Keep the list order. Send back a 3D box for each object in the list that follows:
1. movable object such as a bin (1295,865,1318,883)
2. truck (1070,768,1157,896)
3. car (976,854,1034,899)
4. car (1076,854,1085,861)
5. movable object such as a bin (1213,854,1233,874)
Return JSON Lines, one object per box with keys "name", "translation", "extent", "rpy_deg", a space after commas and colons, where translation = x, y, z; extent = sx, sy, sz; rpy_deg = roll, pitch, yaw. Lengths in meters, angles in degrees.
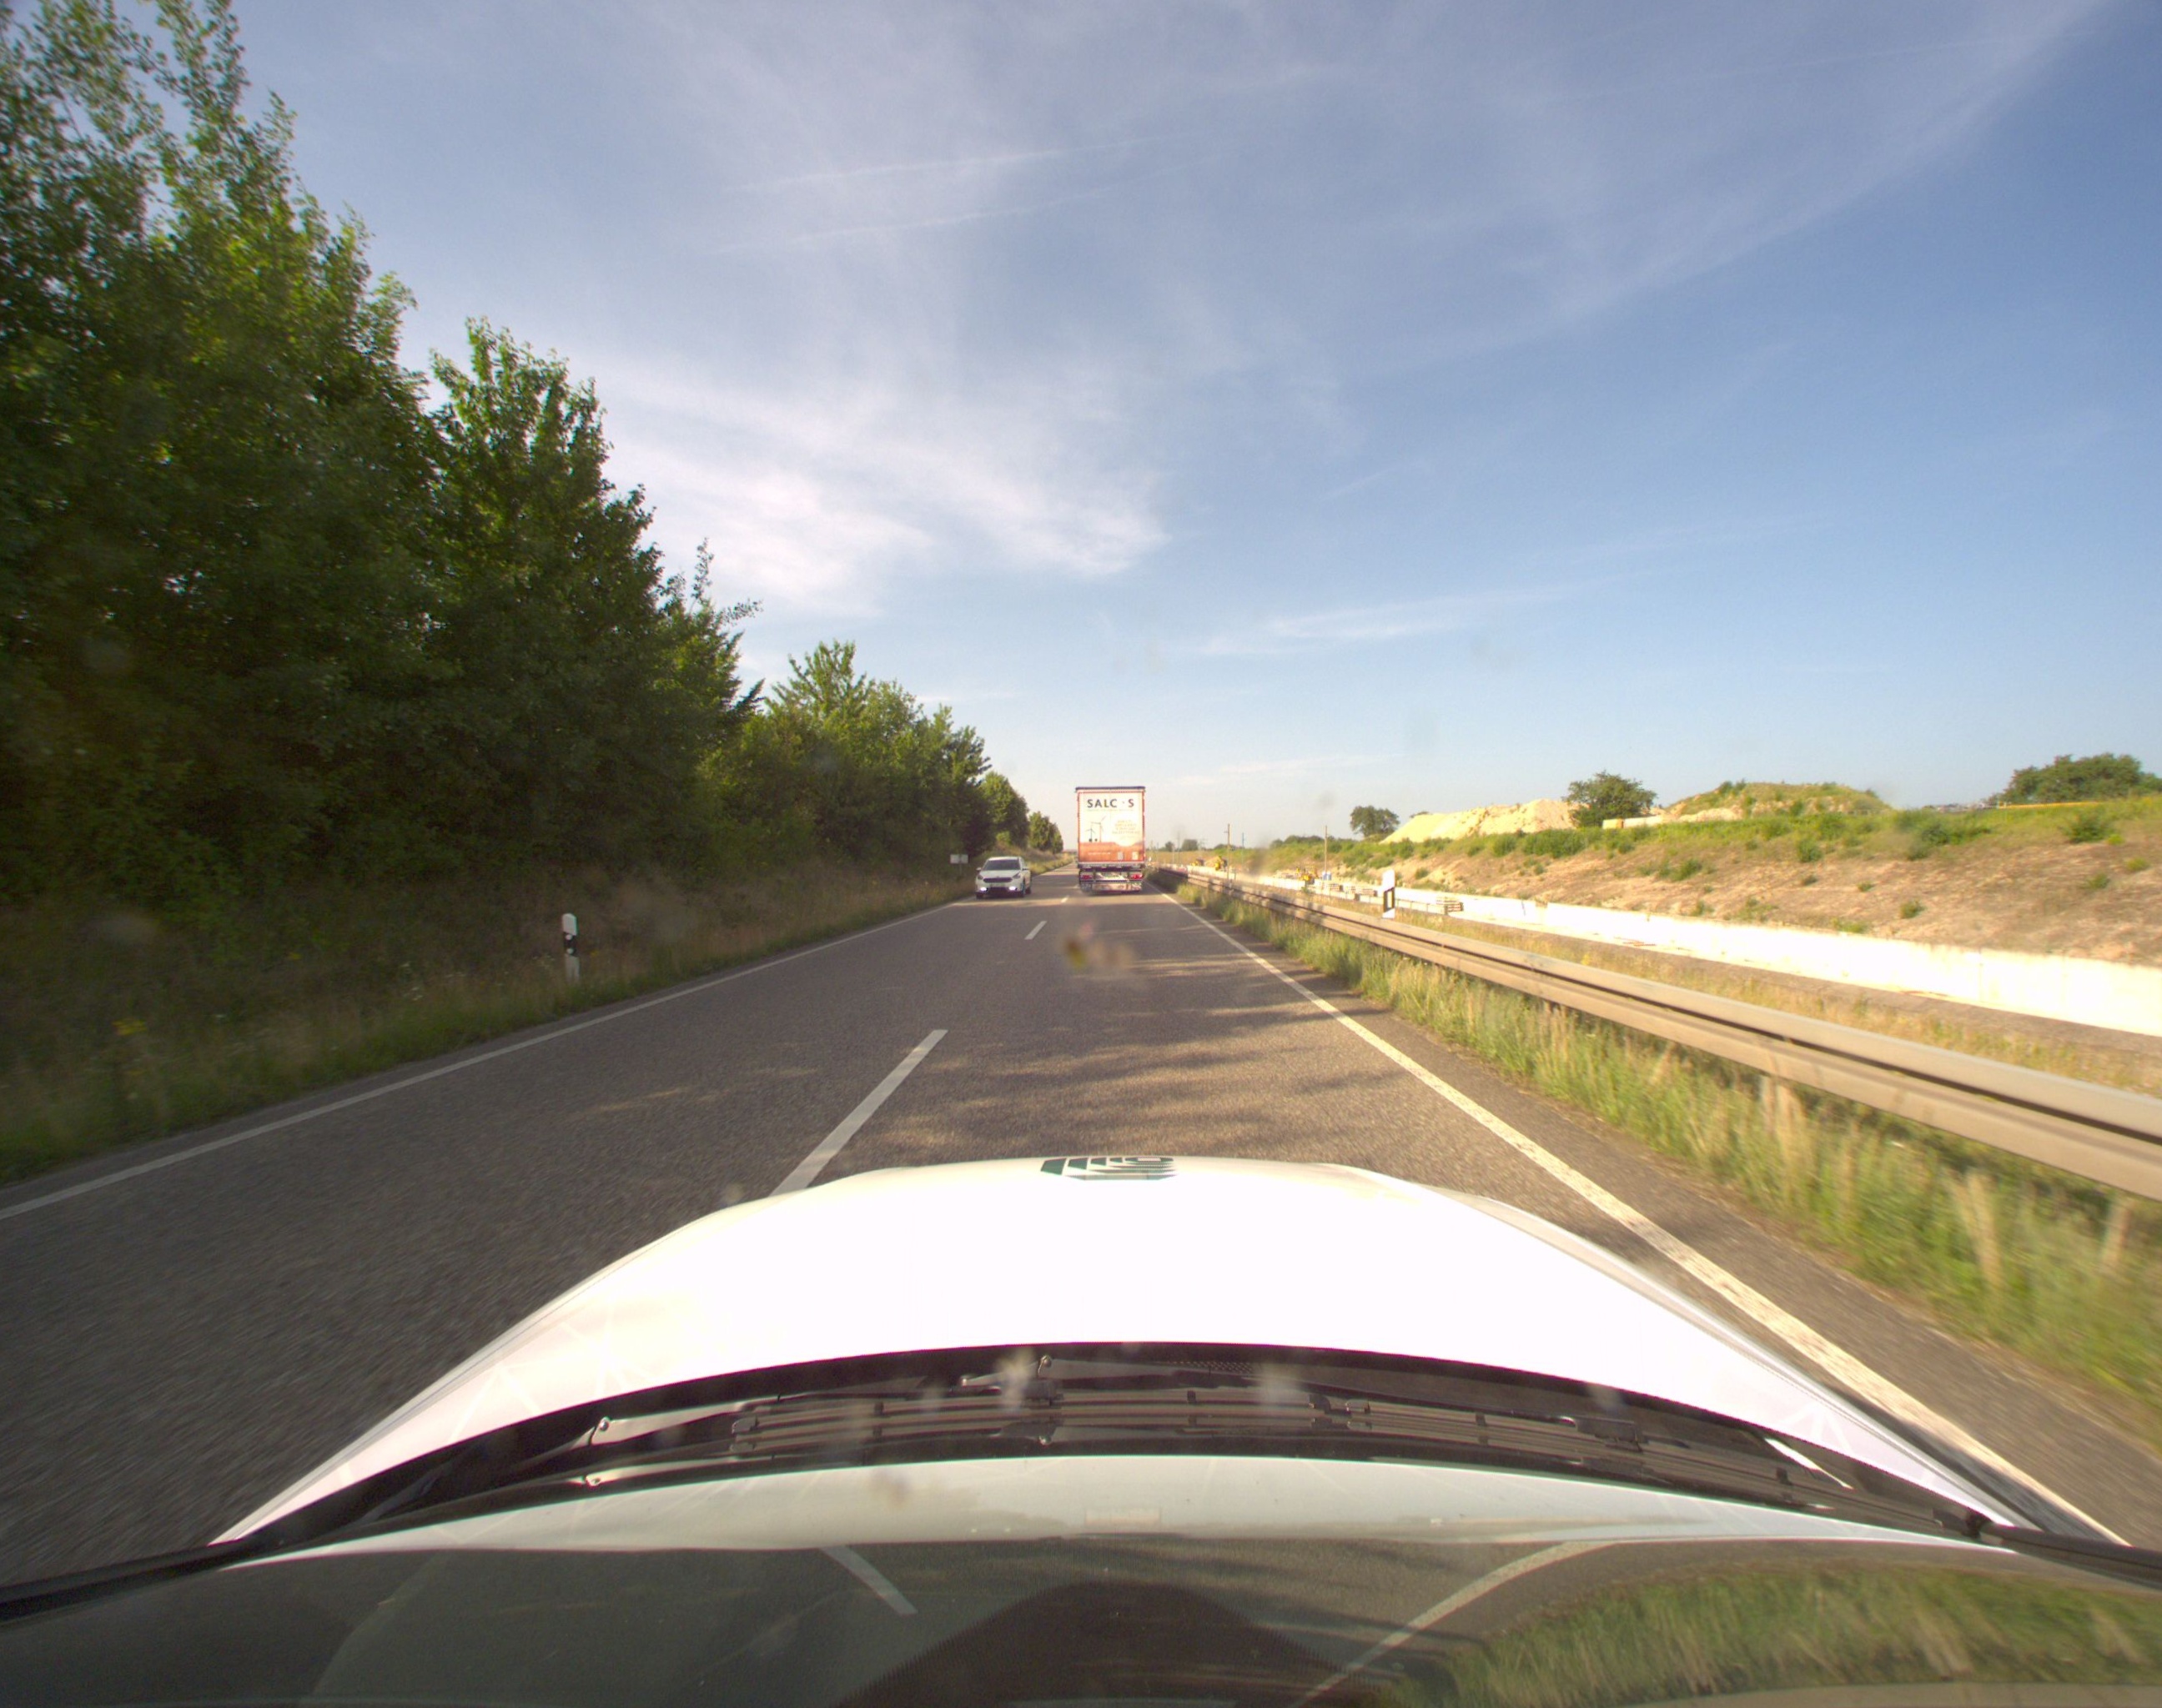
{"name": "movable object such as a bin", "translation": [33.546, 2.992, 121.270], "extent": [2.877, 2.661, 2.031], "rpy_deg": [-1, 0, 26]}
{"name": "truck", "translation": [1.318, -0.814, 34.489], "extent": [3.141, 4.688, 8.443], "rpy_deg": [-1, 0, 1]}
{"name": "car", "translation": [-2.880, 0.807, 31.695], "extent": [1.739, 1.564, 4.366], "rpy_deg": [-2, 0, 1]}
{"name": "car", "translation": [-0.187, 0.763, 174.339], "extent": [1.736, 1.546, 4.314], "rpy_deg": [-1, 0, 2]}
{"name": "movable object such as a bin", "translation": [29.326, 2.015, 168.826], "extent": [2.787, 3.886, 7.537], "rpy_deg": [0, 0, 0]}
